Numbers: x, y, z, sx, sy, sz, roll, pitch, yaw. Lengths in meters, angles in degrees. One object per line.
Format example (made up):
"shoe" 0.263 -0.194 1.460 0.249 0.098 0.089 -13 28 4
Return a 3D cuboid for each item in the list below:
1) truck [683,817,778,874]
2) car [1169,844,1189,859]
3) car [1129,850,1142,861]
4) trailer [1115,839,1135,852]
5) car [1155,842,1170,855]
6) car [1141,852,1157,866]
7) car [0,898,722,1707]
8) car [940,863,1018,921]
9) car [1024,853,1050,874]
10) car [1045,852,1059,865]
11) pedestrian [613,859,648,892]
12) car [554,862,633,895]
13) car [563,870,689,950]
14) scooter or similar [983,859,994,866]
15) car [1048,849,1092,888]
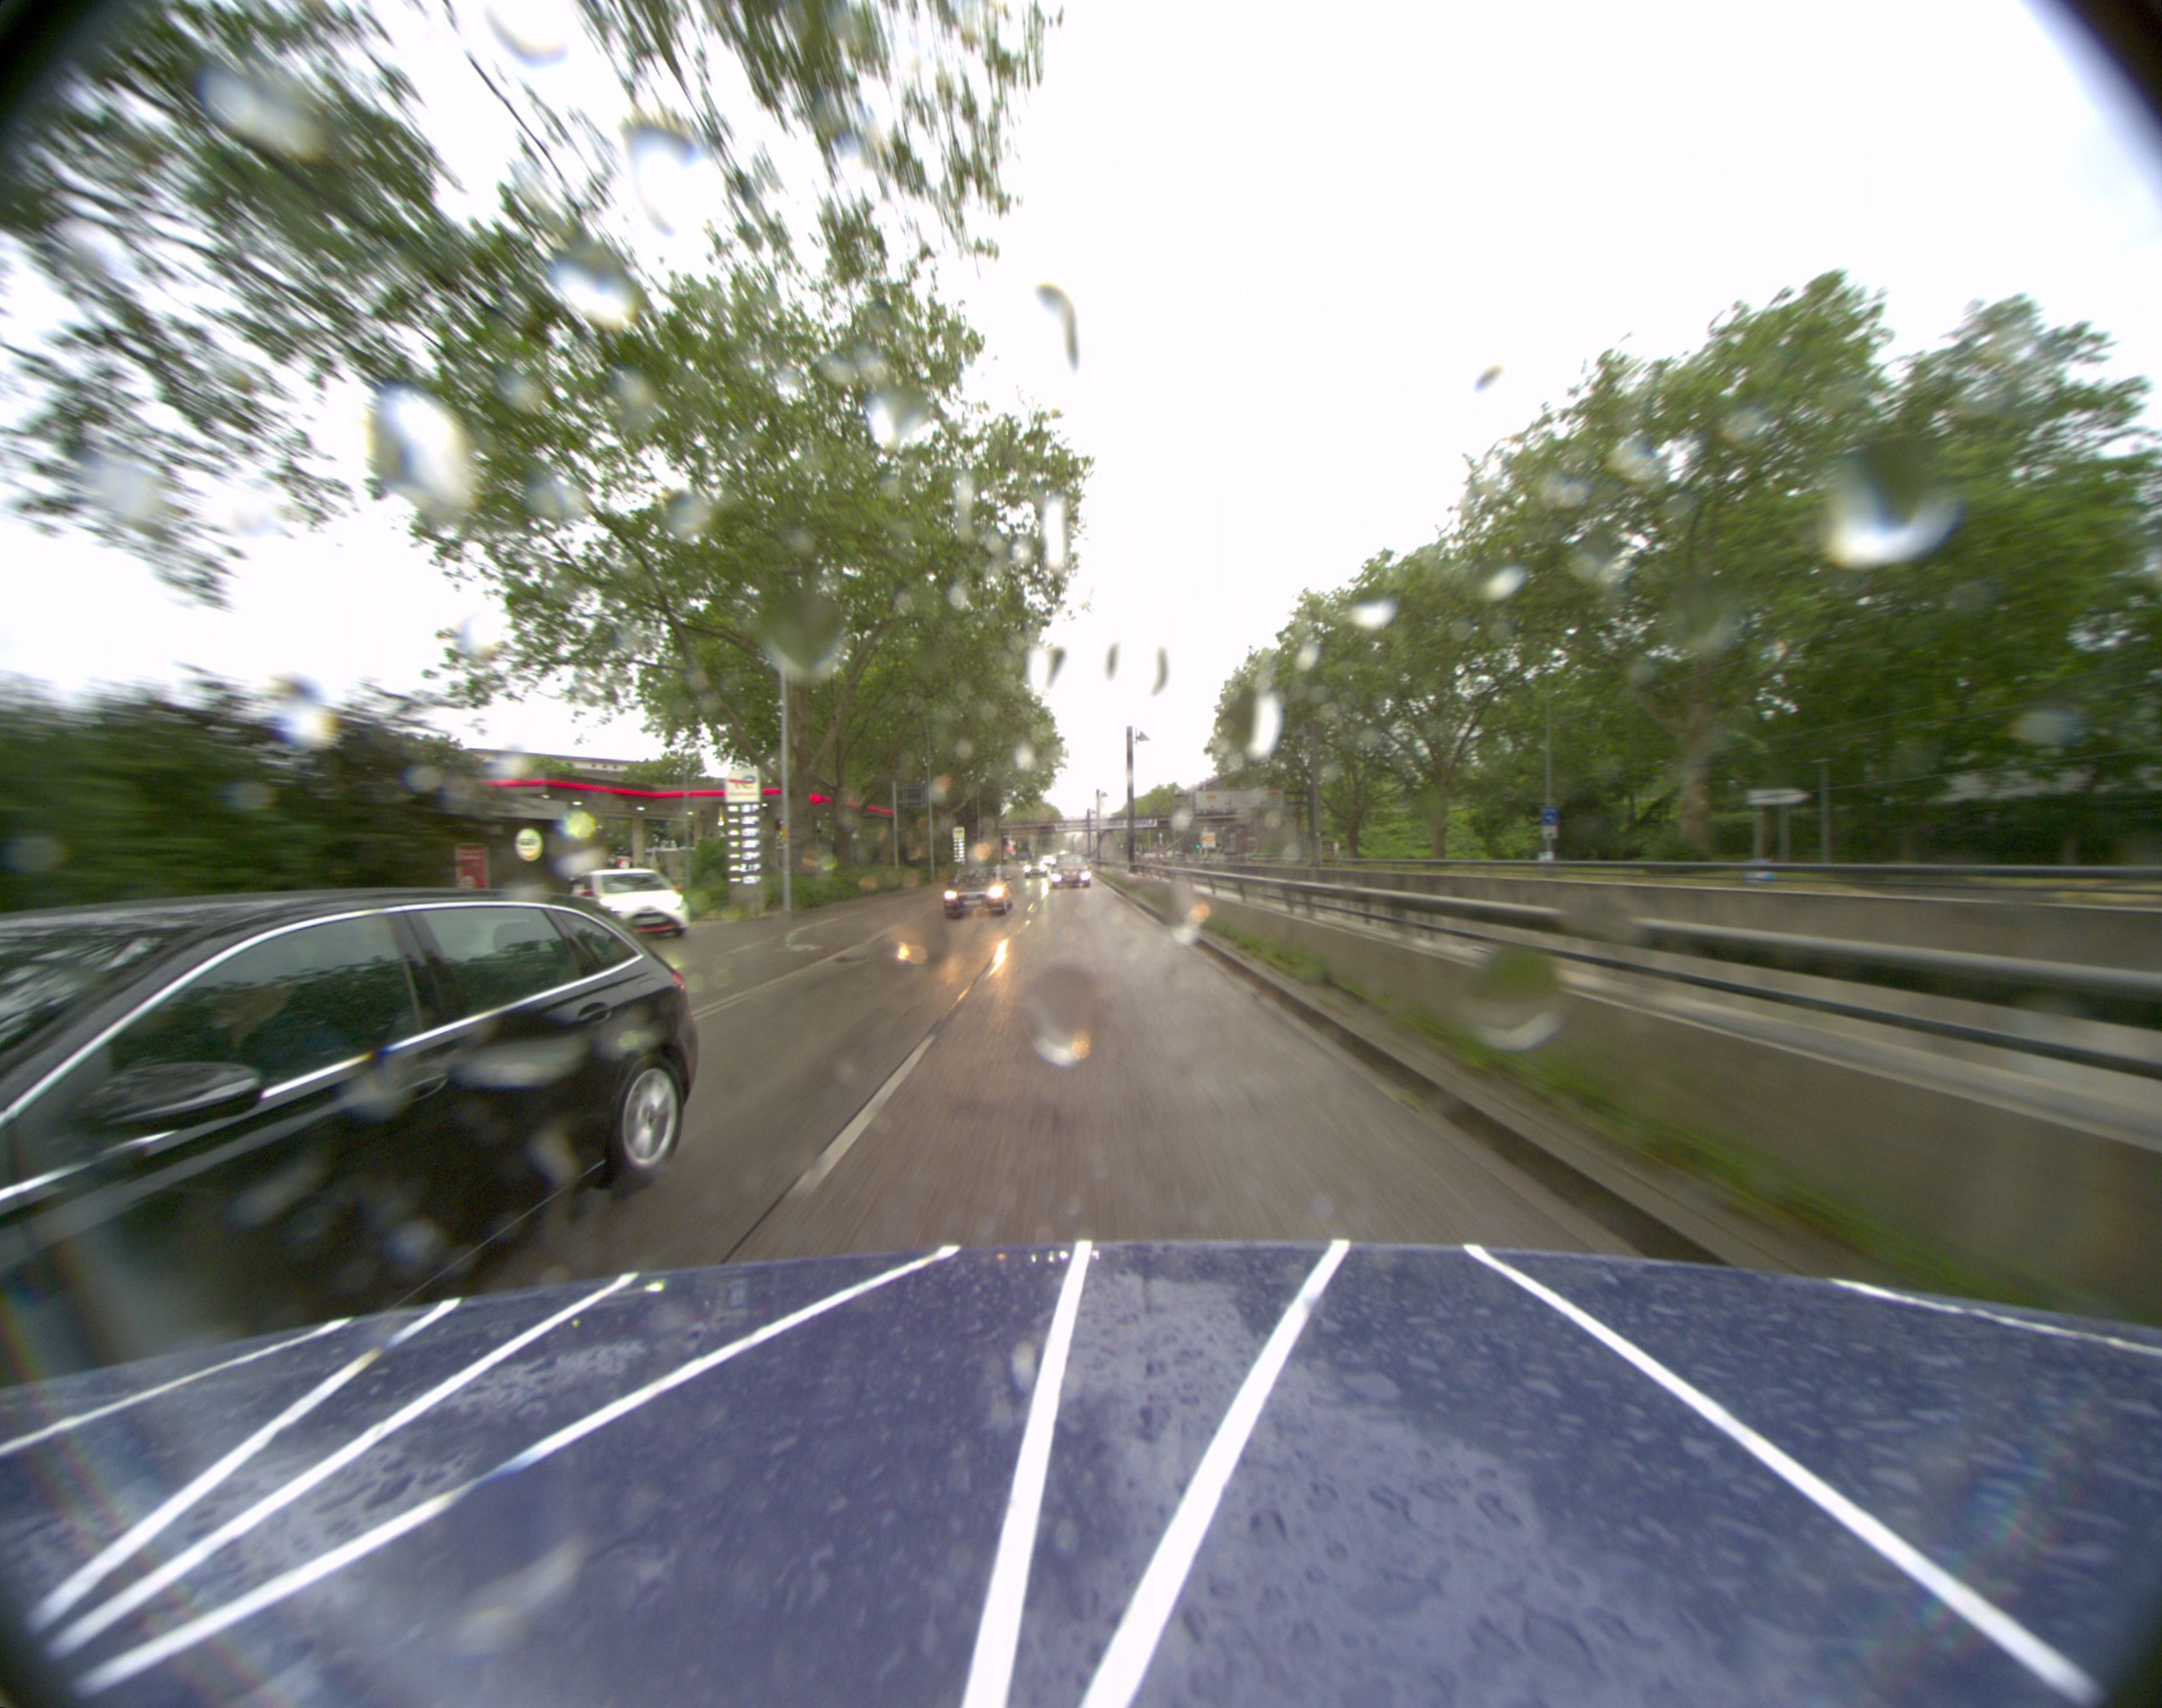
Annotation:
"truck" -22.652 -0.530 49.628 2.701 3.332 7.767 -3 0 -3
"car" 13.708 -0.307 106.806 1.999 2.002 4.509 -3 0 -1
"car" 11.315 0.283 157.915 1.999 2.002 4.509 -3 0 -1
"trailer" 11.484 -2.235 199.634 3.332 3.241 11.116 -3 0 -5
"car" 14.072 -0.917 130.838 1.999 2.002 3.999 -3 0 -1
"car" 10.562 0.721 118.154 1.999 2.002 4.615 -3 0 -1
"car" -2.977 1.058 2.200 1.821 1.521 4.421 -2 0 -2
"car" -2.877 1.038 22.241 1.641 1.377 3.782 -3 1 1
"car" -3.468 0.742 60.629 1.821 1.520 4.158 -1 0 -1
"car" -4.061 0.681 106.106 1.869 1.688 4.425 -1 0 -1
"pedestrian" -24.798 1.161 41.847 1.224 1.783 1.064 -1 1 1
"car" -27.192 1.323 42.534 1.833 1.583 3.879 -3 0 -1
"car" -9.789 1.123 16.231 1.611 1.423 3.546 -3 1 -42
"scooter or similar" -13.548 1.225 110.892 0.452 1.004 1.742 -2 1 37
"car" -0.496 0.712 38.750 1.975 1.794 4.159 -2 0 2
